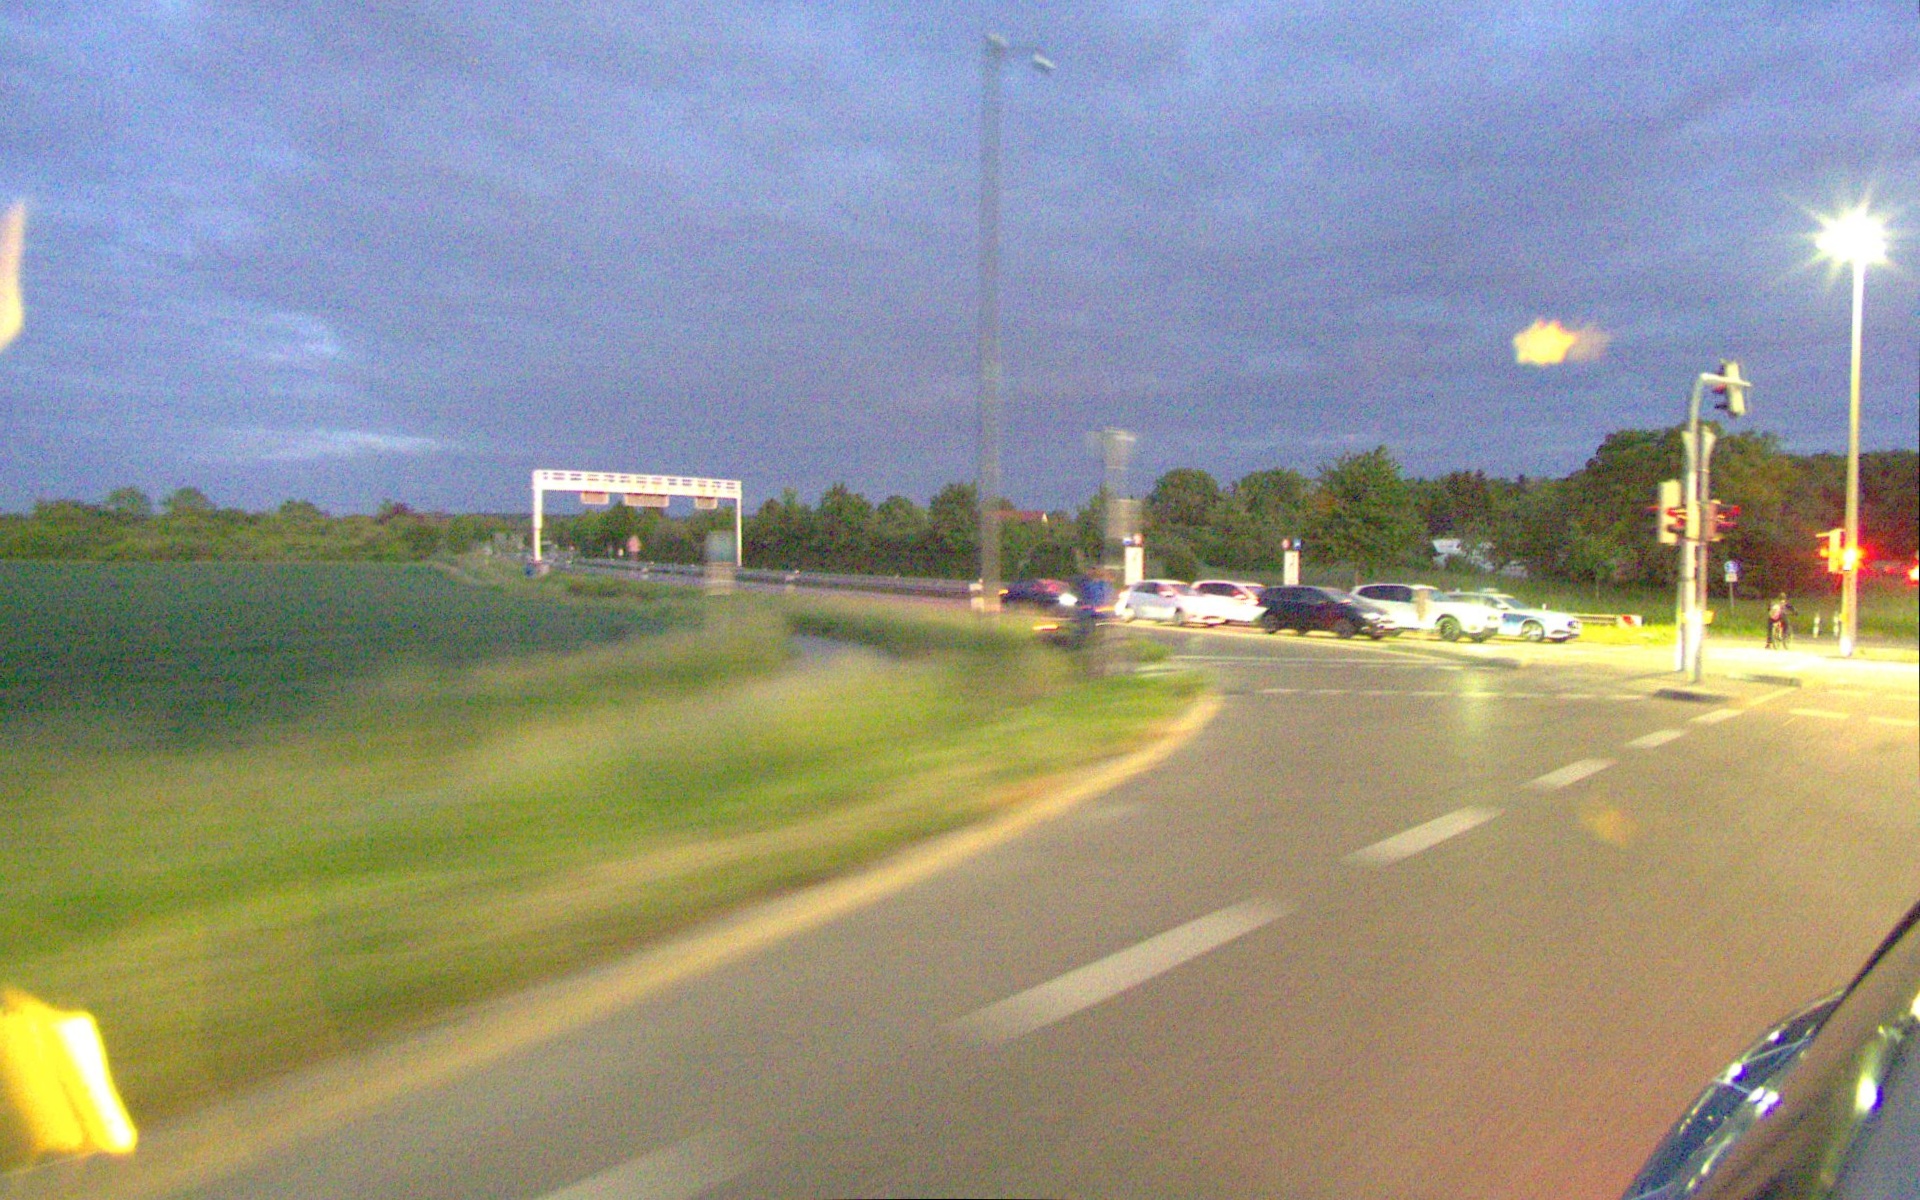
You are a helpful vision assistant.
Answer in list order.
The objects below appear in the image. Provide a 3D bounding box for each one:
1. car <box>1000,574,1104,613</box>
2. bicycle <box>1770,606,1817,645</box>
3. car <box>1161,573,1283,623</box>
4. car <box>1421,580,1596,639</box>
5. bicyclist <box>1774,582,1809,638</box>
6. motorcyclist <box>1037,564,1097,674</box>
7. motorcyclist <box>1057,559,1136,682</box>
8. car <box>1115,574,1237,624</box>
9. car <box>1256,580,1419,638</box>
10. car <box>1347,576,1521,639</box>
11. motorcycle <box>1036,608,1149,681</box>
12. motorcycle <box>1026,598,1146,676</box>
[{"bbox_3d":[3.595,-0.294,40.239,1.802,1.407,4.401,0,2,-33],"label":"car"},{"bbox_3d":[25.292,0.767,30.691,2.030,1.115,0.694,1,1,-39],"label":"bicycle"},{"bbox_3d":[9.681,-0.114,37.740,1.717,1.646,4.367,1,2,-32],"label":"car"},{"bbox_3d":[17.422,0.258,32.359,1.821,1.653,4.589,1,1,-32],"label":"car"},{"bbox_3d":[25.042,0.295,30.485,0.982,1.672,0.603,1,0,-39],"label":"bicyclist"},{"bbox_3d":[1.812,0.316,17.065,0.780,1.781,0.679,-2,1,22],"label":"motorcyclist"},{"bbox_3d":[2.151,0.304,15.888,0.862,1.831,0.909,-3,1,27],"label":"motorcyclist"},{"bbox_3d":[7.377,-0.072,34.951,1.802,1.543,4.003,0,2,-33],"label":"car"},{"bbox_3d":[10.951,0.224,29.636,1.751,1.463,4.295,2,1,-31],"label":"car"},{"bbox_3d":[14.231,0.180,30.639,1.877,1.703,4.424,2,1,-32],"label":"car"},{"bbox_3d":[2.088,0.704,15.939,1.562,1.046,0.716,-3,1,28],"label":"motorcycle"},{"bbox_3d":[2.113,0.615,16.979,1.800,1.196,0.844,-2,1,22],"label":"motorcycle"}]
